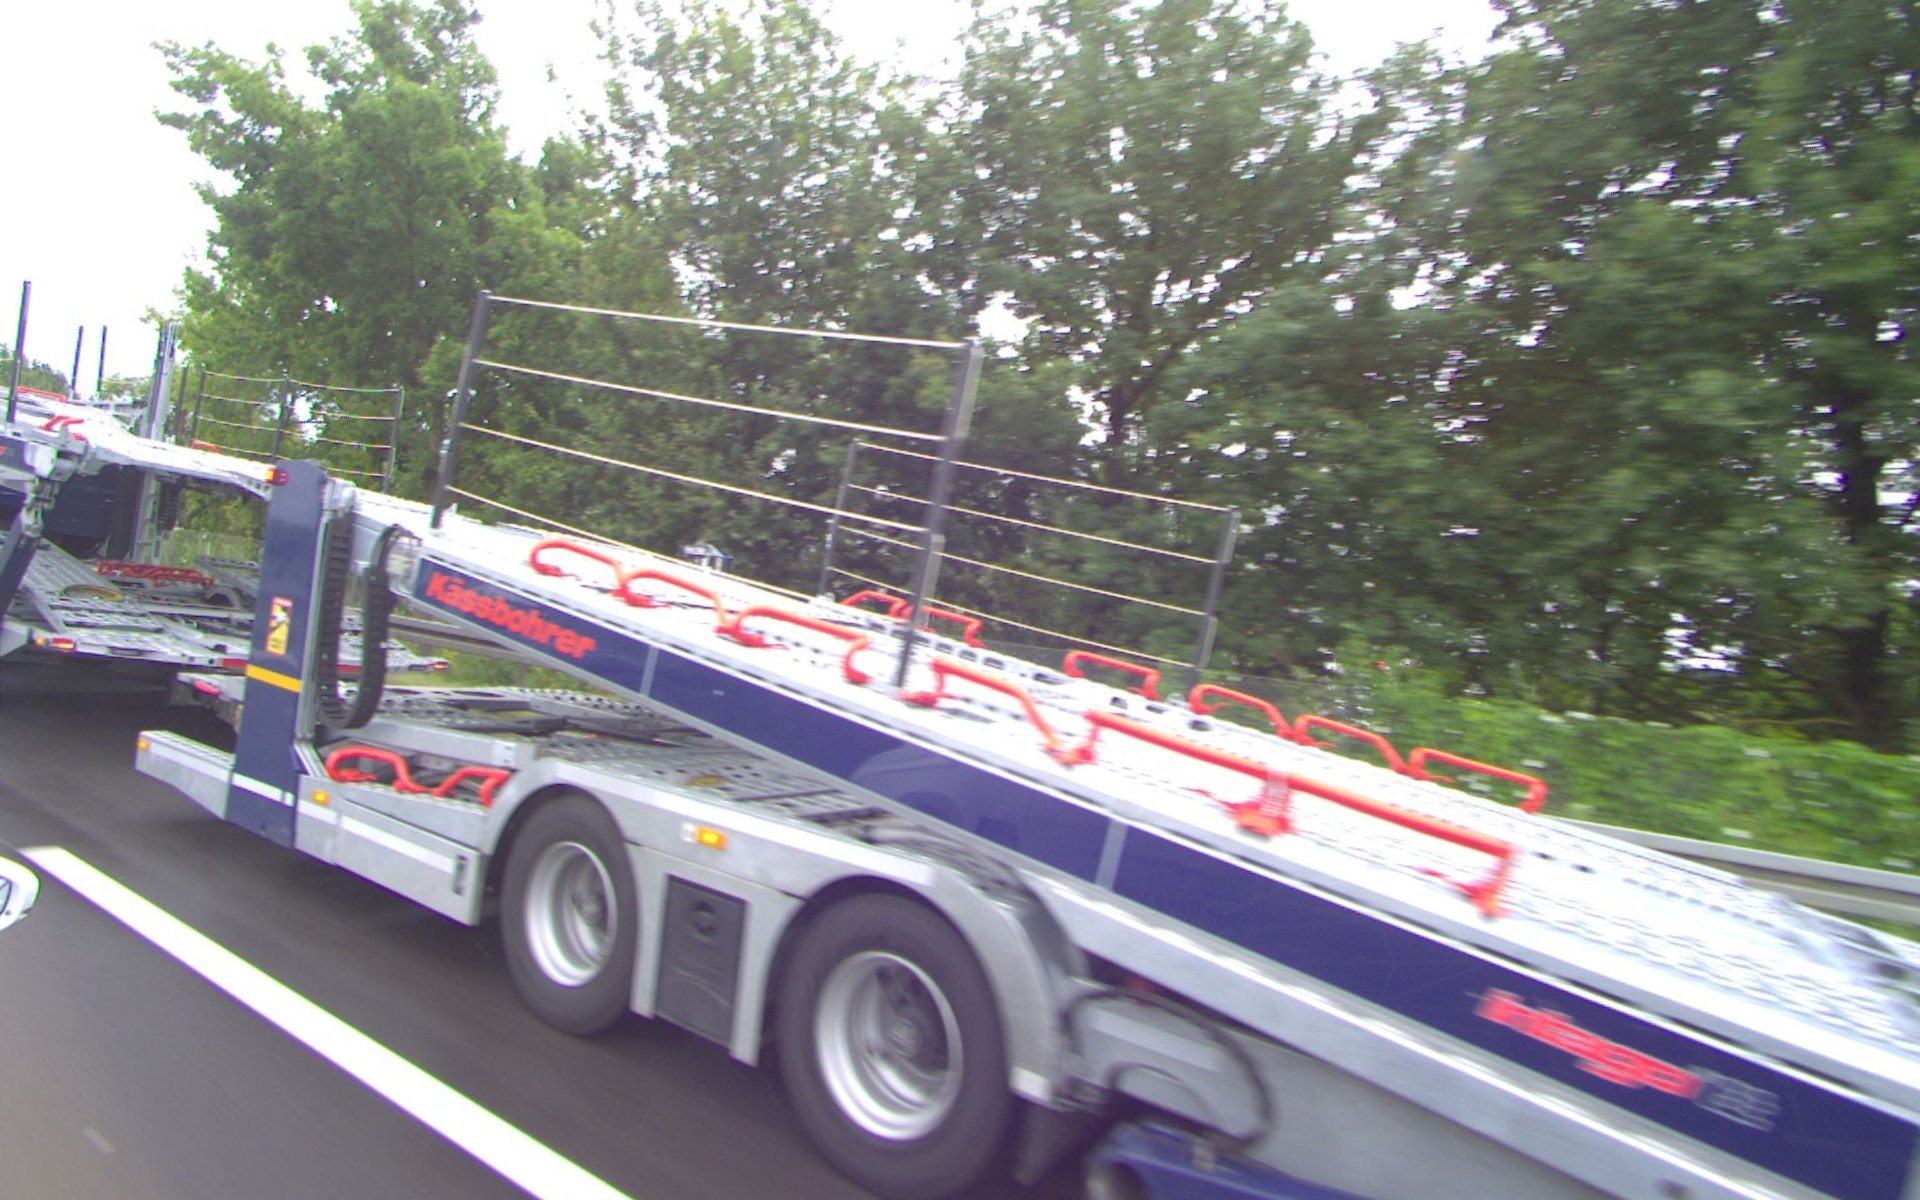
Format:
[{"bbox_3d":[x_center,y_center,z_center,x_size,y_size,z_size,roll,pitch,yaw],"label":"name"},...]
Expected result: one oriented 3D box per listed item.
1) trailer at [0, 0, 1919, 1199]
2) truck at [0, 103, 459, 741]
[{"bbox_3d":[-0.826,-0.174,4.610,10.236,3.323,2.782,6,-1,32],"label":"trailer"},{"bbox_3d":[-8.973,-1.375,9.903,8.981,4.014,2.742,6,-1,33],"label":"truck"}]
